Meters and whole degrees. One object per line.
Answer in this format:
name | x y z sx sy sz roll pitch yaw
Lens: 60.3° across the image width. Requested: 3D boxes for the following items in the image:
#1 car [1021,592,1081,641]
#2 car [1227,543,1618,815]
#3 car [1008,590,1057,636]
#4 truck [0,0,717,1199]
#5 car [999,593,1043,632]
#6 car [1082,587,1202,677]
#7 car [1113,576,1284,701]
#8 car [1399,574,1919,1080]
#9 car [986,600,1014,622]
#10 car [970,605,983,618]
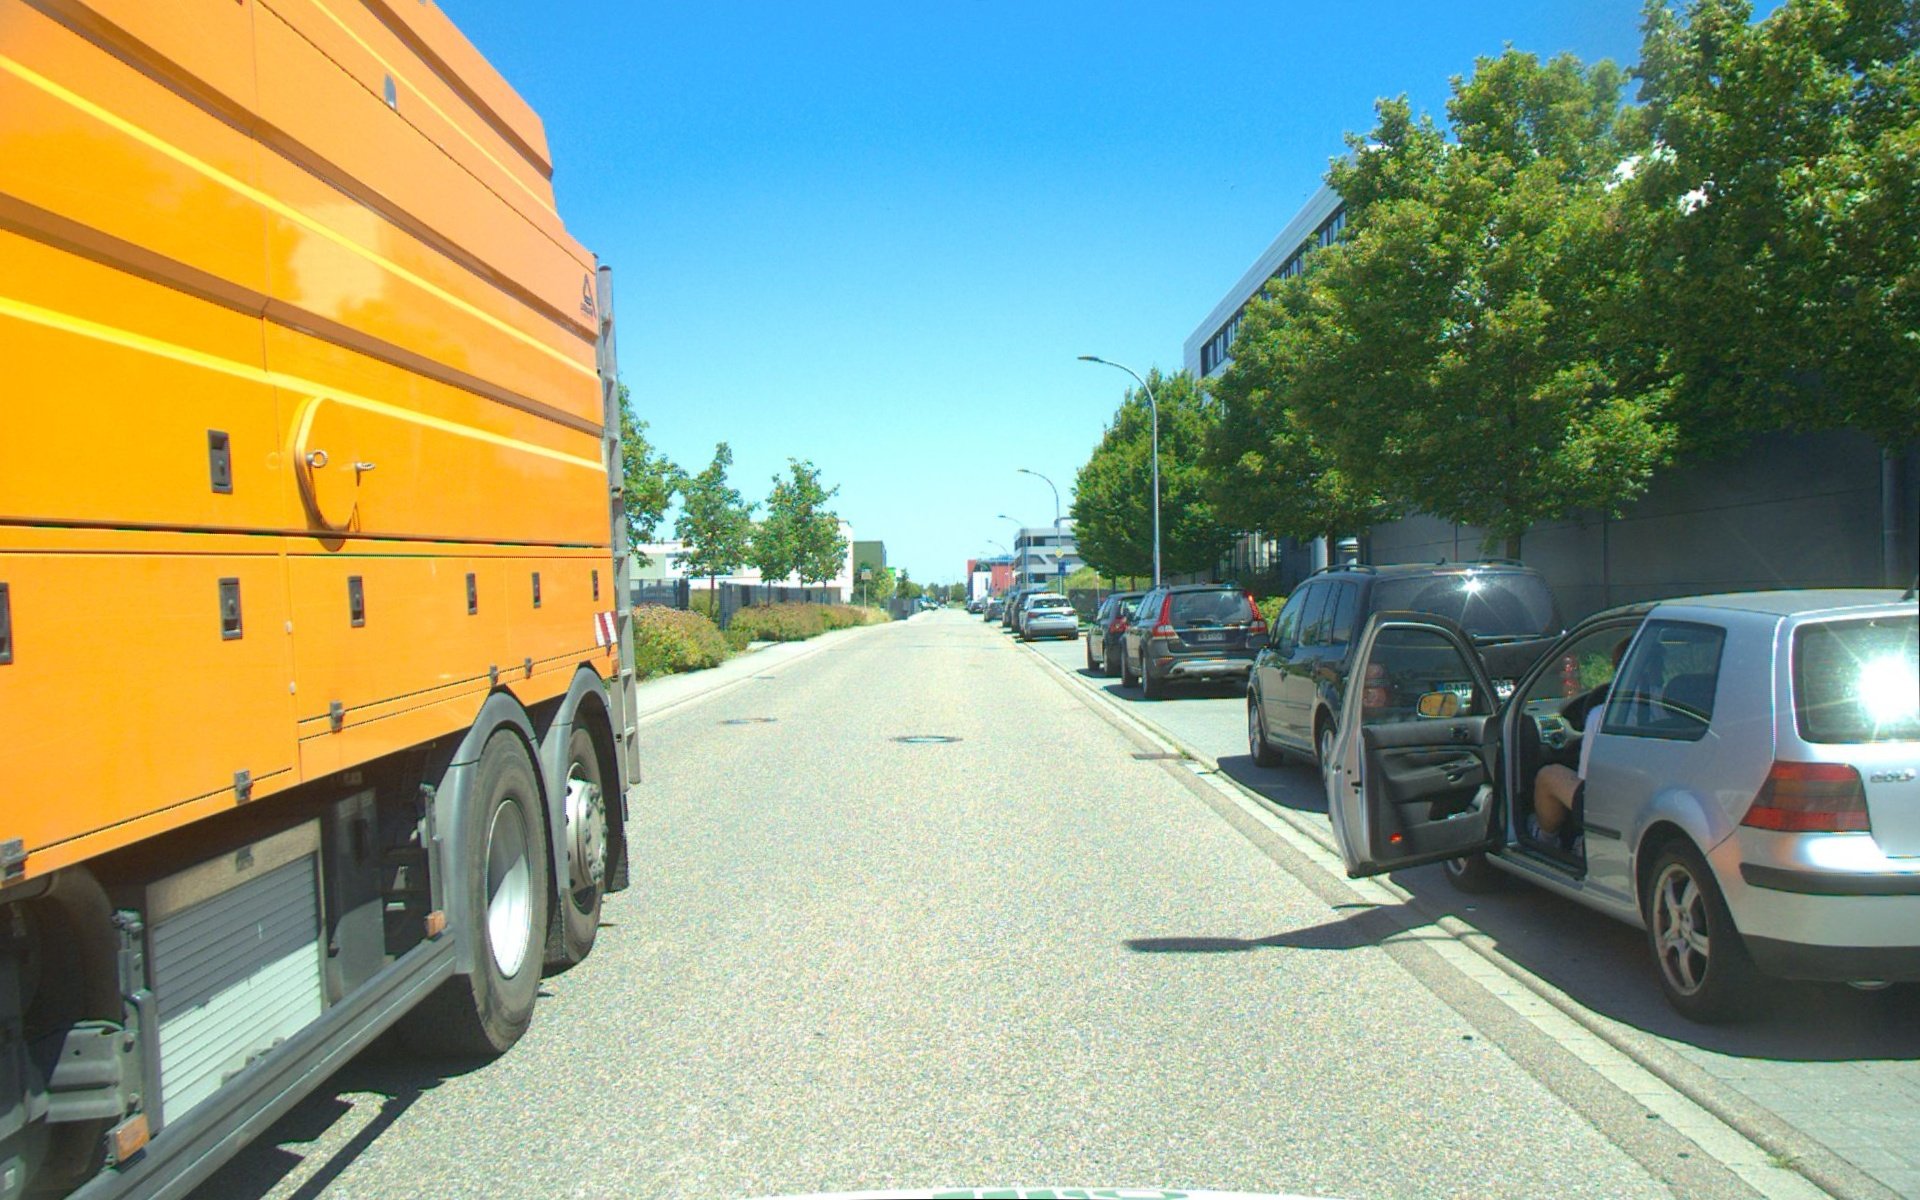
car | 2.922 0.518 53.943 1.681 1.448 3.951 -3 0 0
car | 3.353 0.507 12.905 1.702 1.699 4.367 -2 0 -1
car | 2.862 0.490 65.885 1.722 1.692 4.363 -2 0 0
truck | -2.723 -0.281 4.980 2.547 3.607 10.498 -2 0 -1
car | 2.866 0.577 78.828 1.767 1.691 4.607 -3 0 -1
car | 3.345 0.550 31.032 1.657 1.502 4.268 -2 0 -1
car | 3.487 0.523 25.019 1.771 1.646 4.713 -2 0 -1
car | 3.326 0.661 7.069 1.672 1.483 4.188 -2 0 -1
car | 2.864 0.782 118.278 1.868 1.473 4.001 -3 0 2
car | 2.323 1.549 229.214 1.739 1.758 4.000 1 0 0
